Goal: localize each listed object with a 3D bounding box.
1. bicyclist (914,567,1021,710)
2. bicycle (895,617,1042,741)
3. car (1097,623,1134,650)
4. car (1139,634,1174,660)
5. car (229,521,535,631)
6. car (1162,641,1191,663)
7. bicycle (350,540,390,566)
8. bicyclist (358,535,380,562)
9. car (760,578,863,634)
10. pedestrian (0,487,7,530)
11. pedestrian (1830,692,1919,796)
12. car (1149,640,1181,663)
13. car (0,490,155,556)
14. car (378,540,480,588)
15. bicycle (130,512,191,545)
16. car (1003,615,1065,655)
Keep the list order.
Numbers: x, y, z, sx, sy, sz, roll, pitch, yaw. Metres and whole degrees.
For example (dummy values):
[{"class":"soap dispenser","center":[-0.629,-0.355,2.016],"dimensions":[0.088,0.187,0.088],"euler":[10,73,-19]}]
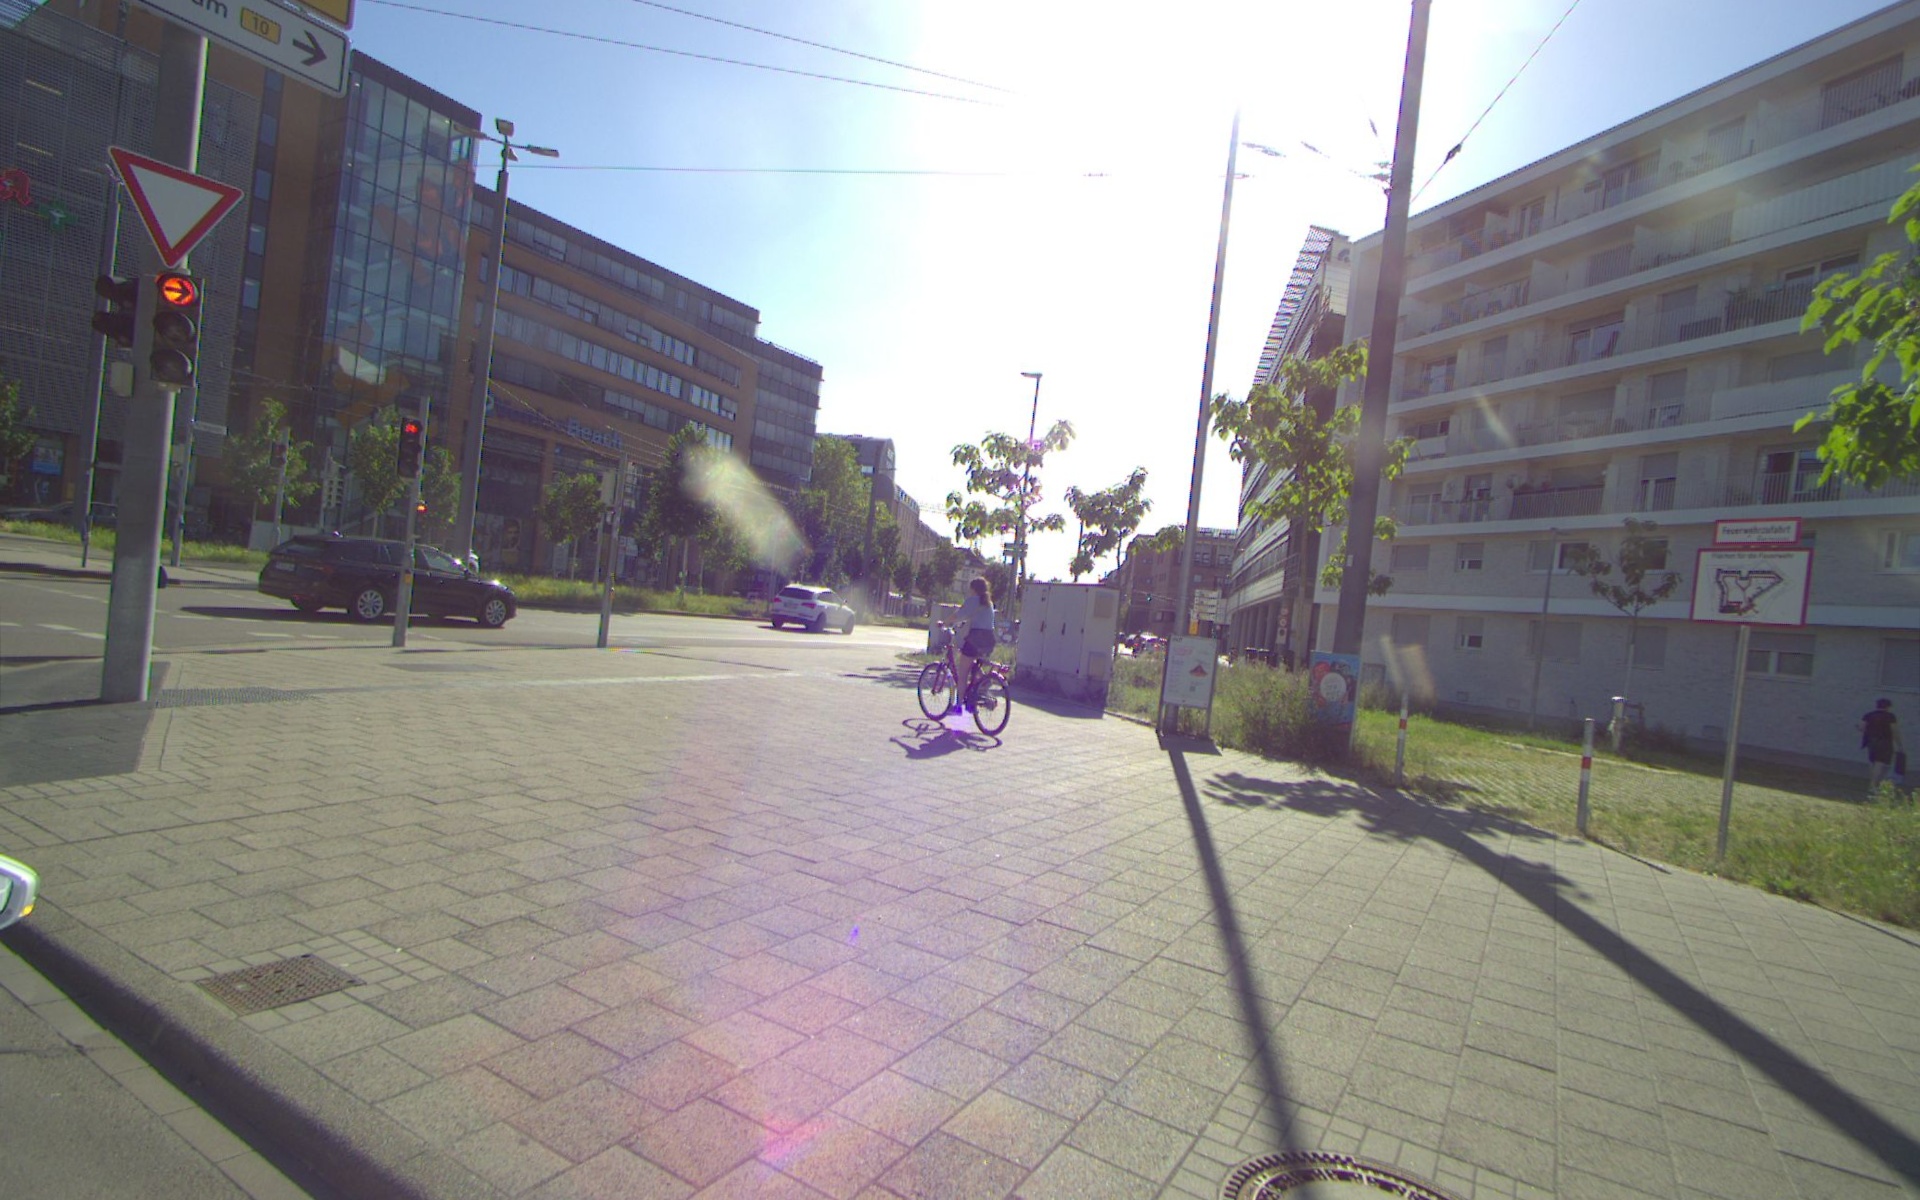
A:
[{"class":"bicyclist","center":[0.069,0.408,11.111],"dimensions":[0.661,1.455,0.932],"euler":[5,2,-31]},{"class":"bicycle","center":[0.052,0.837,11.078],"dimensions":[0.662,1.085,1.805],"euler":[7,1,-31]},{"class":"car","center":[10.906,2.587,70.534],"dimensions":[1.677,1.515,4.281],"euler":[7,-2,19]},{"class":"car","center":[13.842,3.320,70.844],"dimensions":[1.677,1.515,4.281],"euler":[7,-2,19]},{"class":"car","center":[-10.504,-0.354,18.749],"dimensions":[1.800,1.480,4.682],"euler":[7,0,24]},{"class":"car","center":[17.917,4.313,83.267],"dimensions":[1.677,1.515,4.281],"euler":[7,-2,19]},{"class":"bicycle","center":[-33.910,-2.681,57.831],"dimensions":[0.559,1.232,1.859],"euler":[9,1,31]},{"class":"bicyclist","center":[-33.923,-2.961,57.751],"dimensions":[0.556,1.404,0.754],"euler":[9,2,31]},{"class":"car","center":[-5.491,0.272,37.934],"dimensions":[1.901,1.728,4.685],"euler":[7,0,16]},{"class":"pedestrian","center":[-42.224,-4.039,43.630],"dimensions":[1.019,1.852,1.012],"euler":[8,2,35]},{"class":"pedestrian","center":[16.987,2.652,18.579],"dimensions":[0.970,1.719,0.842],"euler":[6,2,-16]},{"class":"car","center":[15.792,3.980,77.331],"dimensions":[1.677,1.515,4.281],"euler":[7,-2,19]},{"class":"car","center":[-32.069,-2.766,36.329],"dimensions":[1.810,1.484,4.161],"euler":[6,-5,30]},{"class":"car","center":[-27.425,-1.829,52.134],"dimensions":[1.808,1.885,4.340],"euler":[6,-1,24]},{"class":"bicycle","center":[-40.518,-3.608,51.036],"dimensions":[0.595,1.310,2.260],"euler":[7,-2,30]},{"class":"car","center":[3.614,1.715,48.391],"dimensions":[1.675,1.591,4.874],"euler":[7,-1,18]}]
